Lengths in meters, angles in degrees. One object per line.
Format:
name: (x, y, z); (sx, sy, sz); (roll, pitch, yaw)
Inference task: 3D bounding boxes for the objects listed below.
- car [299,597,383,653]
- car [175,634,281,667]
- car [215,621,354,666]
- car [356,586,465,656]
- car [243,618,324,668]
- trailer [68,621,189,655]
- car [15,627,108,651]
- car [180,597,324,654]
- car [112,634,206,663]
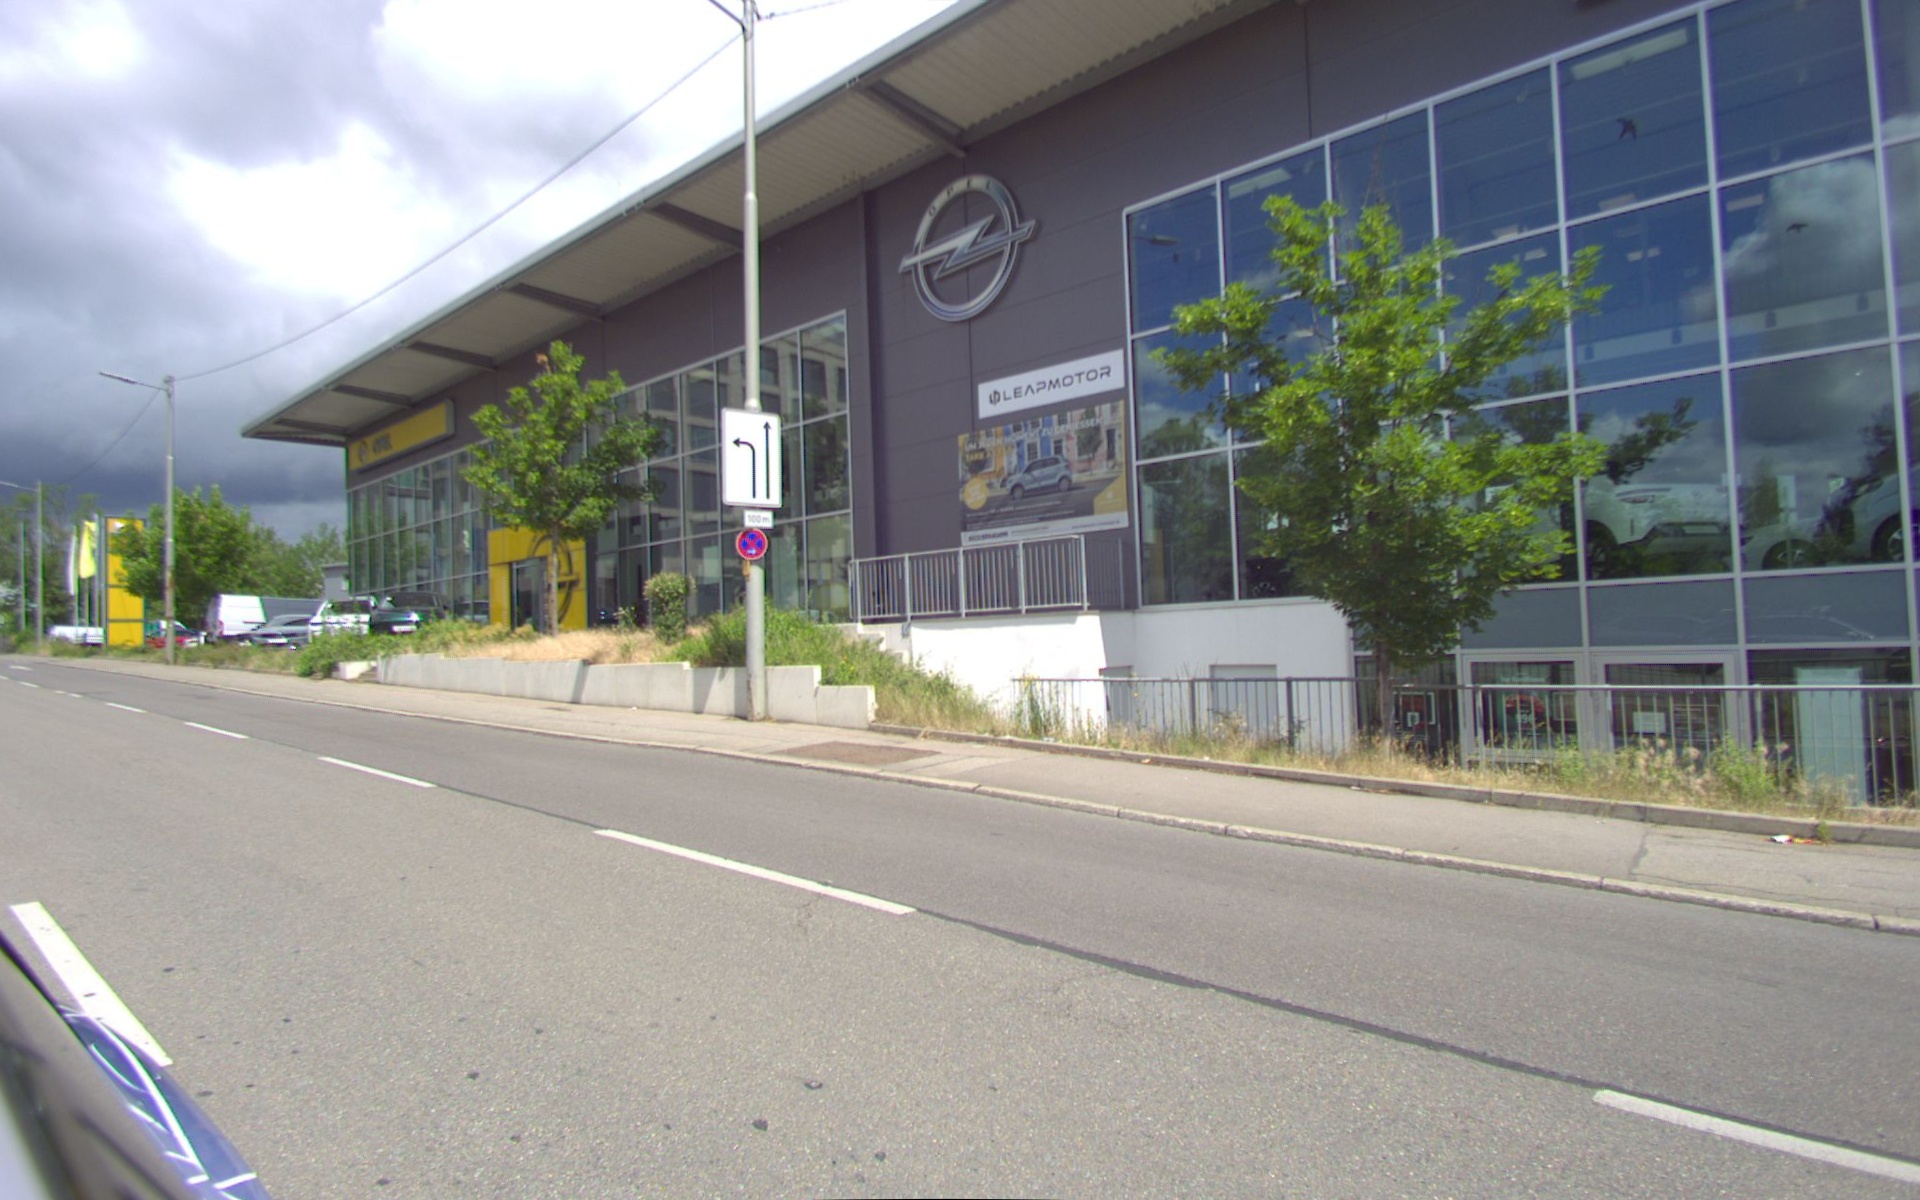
car: (-19.318, 0.766, 31.746); (1.767, 1.625, 4.122); (0, -1, -25)
car: (-35.520, 2.433, 49.175); (1.559, 1.539, 3.897); (-2, -2, 38)
car: (-25.728, 1.629, 38.685); (1.792, 1.625, 4.064); (-1, -2, 32)
car: (-15.459, 0.606, 28.692); (1.792, 1.624, 4.121); (-7, 0, -18)
car: (-23.430, 1.471, 35.181); (1.767, 1.625, 4.122); (1, -2, -26)
trailer: (-45.319, 2.047, 55.240); (2.092, 1.765, 4.776); (-2, -2, 37)
car: (-57.643, 2.463, 64.979); (2.093, 1.493, 4.200); (-2, -2, 38)
car: (-29.295, 1.048, 41.991); (2.177, 2.211, 4.476); (-1, -1, 38)
car: (-42.014, 2.512, 53.112); (1.814, 1.420, 3.621); (-2, -2, 42)
